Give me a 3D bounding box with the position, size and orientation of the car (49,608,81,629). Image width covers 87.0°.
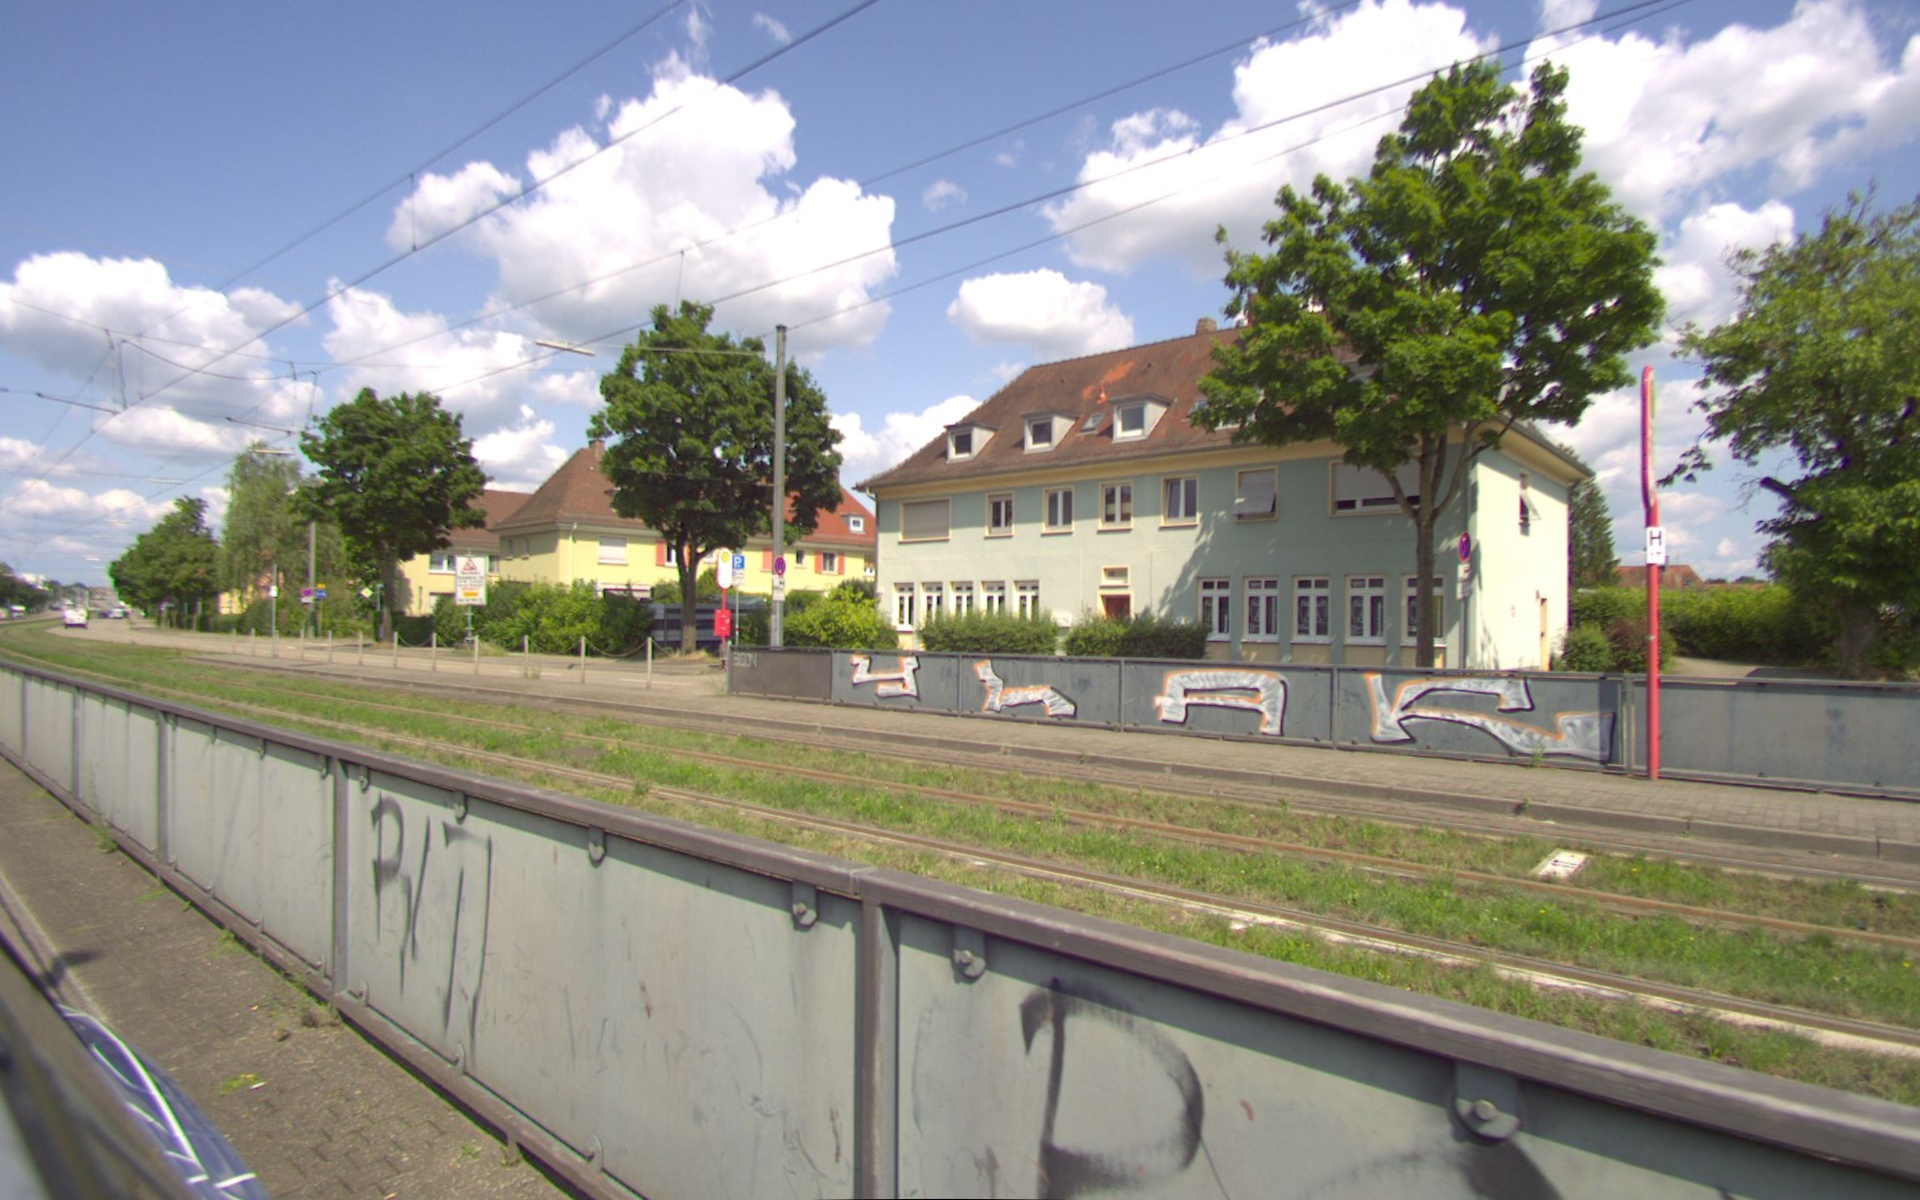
[{"bbox_3d":[-105.092,2.148,118.760,5.331,2.390,2.173,0,-2,42],"label":"car"}]
